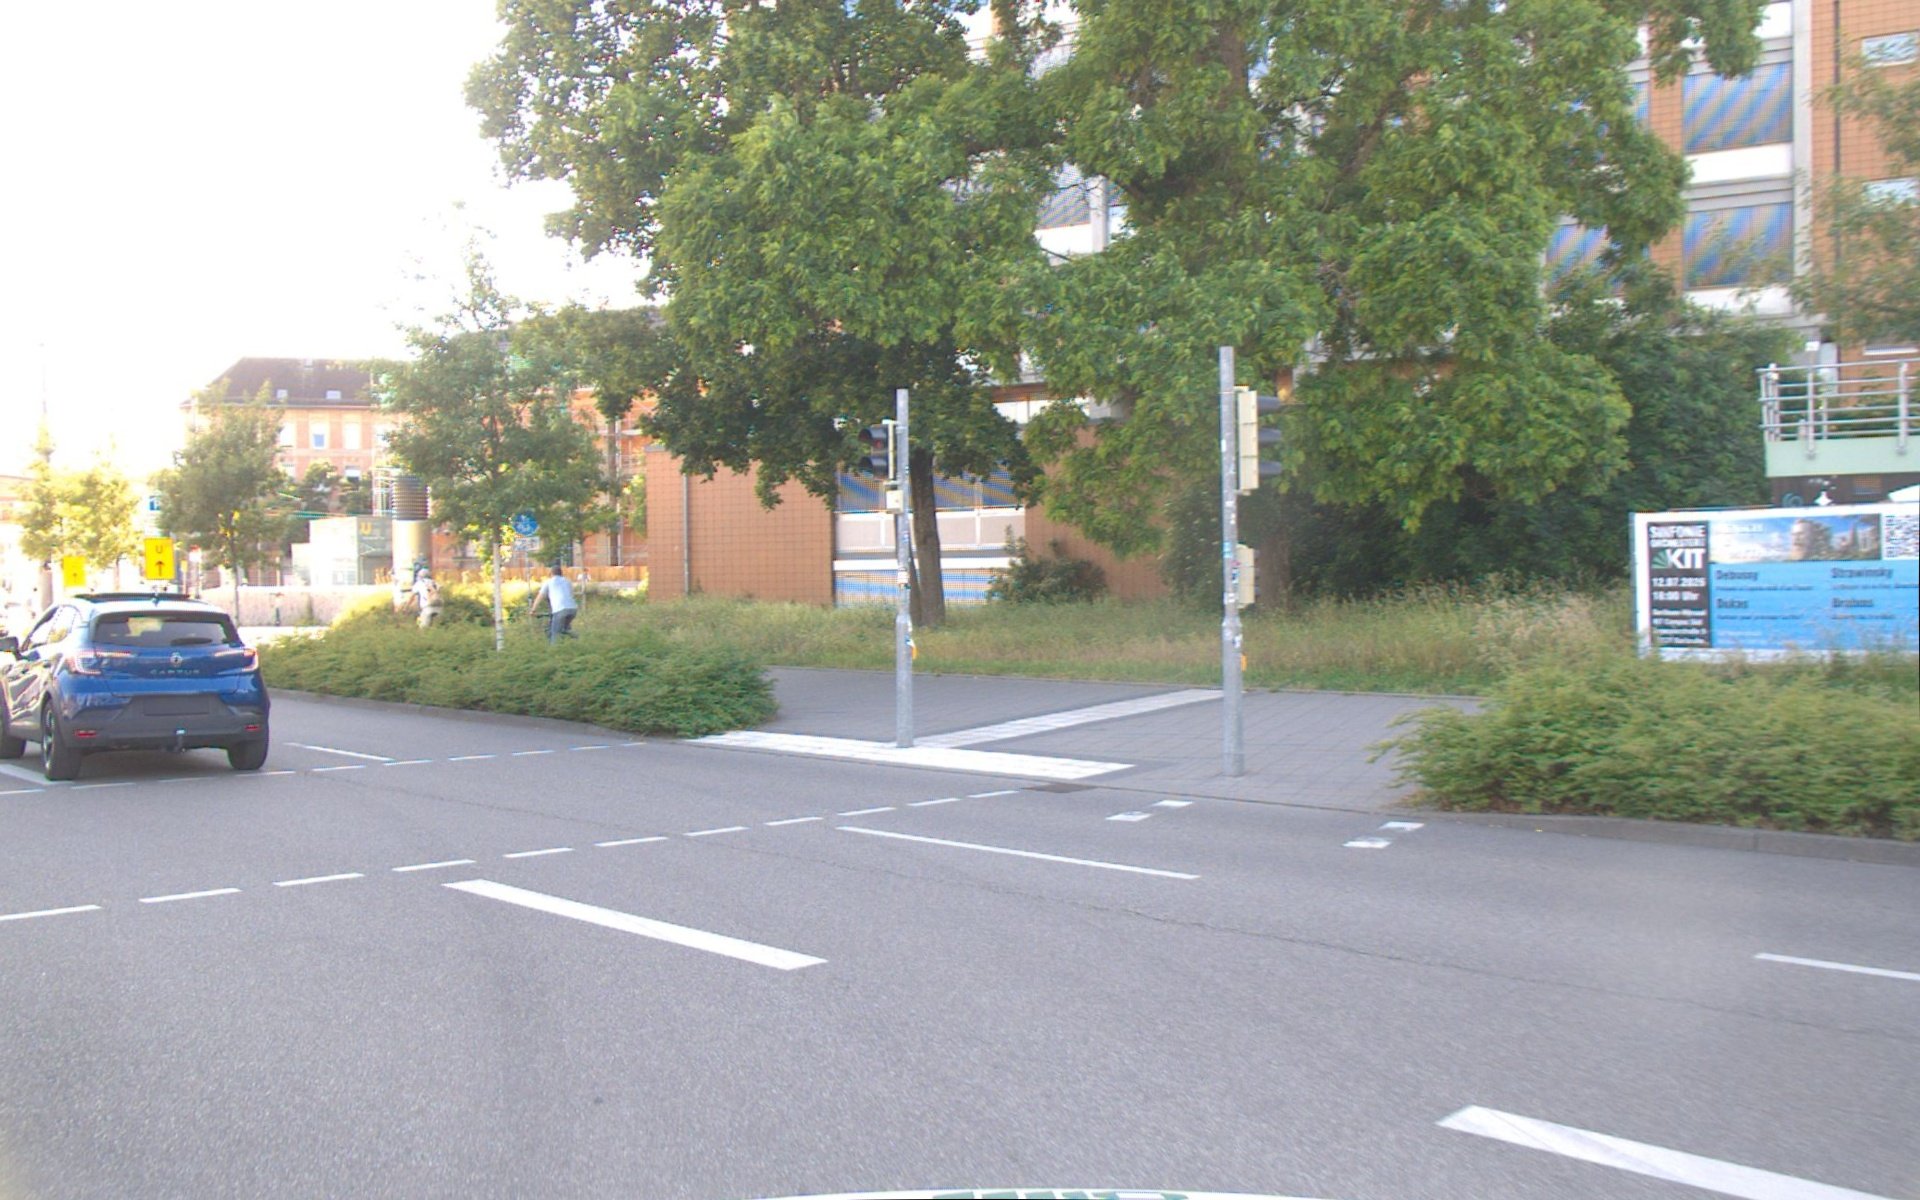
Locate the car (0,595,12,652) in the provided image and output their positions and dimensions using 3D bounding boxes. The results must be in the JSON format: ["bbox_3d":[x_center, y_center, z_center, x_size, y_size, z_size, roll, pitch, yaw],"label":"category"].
[{"bbox_3d":[-28.860,0.671,48.370,1.858,1.646,3.586,0,0,-31],"label":"car"}]

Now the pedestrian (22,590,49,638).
[{"bbox_3d":[-34.349,0.533,61.440,0.583,1.753,0.869,-1,-1,-8],"label":"pedestrian"}]

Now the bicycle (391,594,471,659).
[{"bbox_3d":[-10.126,0.485,31.628,0.742,1.185,1.841,-2,1,-42],"label":"bicycle"}]

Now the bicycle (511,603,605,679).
[{"bbox_3d":[-6.646,0.652,27.281,0.712,1.185,1.841,-2,1,-42],"label":"bicycle"}]

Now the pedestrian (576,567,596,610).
[{"bbox_3d":[-15.633,-0.483,69.130,0.772,1.782,0.537,1,2,-12],"label":"pedestrian"}]

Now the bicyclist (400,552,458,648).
[{"bbox_3d":[-10.169,-0.007,31.661,0.716,1.793,0.963,-2,1,-42],"label":"bicyclist"}]

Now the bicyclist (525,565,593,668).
[{"bbox_3d":[-6.603,0.253,27.231,0.716,1.645,0.963,-2,1,-42],"label":"bicyclist"}]

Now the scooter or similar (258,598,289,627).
[{"bbox_3d":[-25.190,0.452,60.660,1.224,1.030,0.467,2,2,34],"label":"scooter or similar"}]

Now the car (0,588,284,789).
[{"bbox_3d":[-7.874,0.743,15.663,1.863,1.646,3.747,0,0,-37],"label":"car"}]
